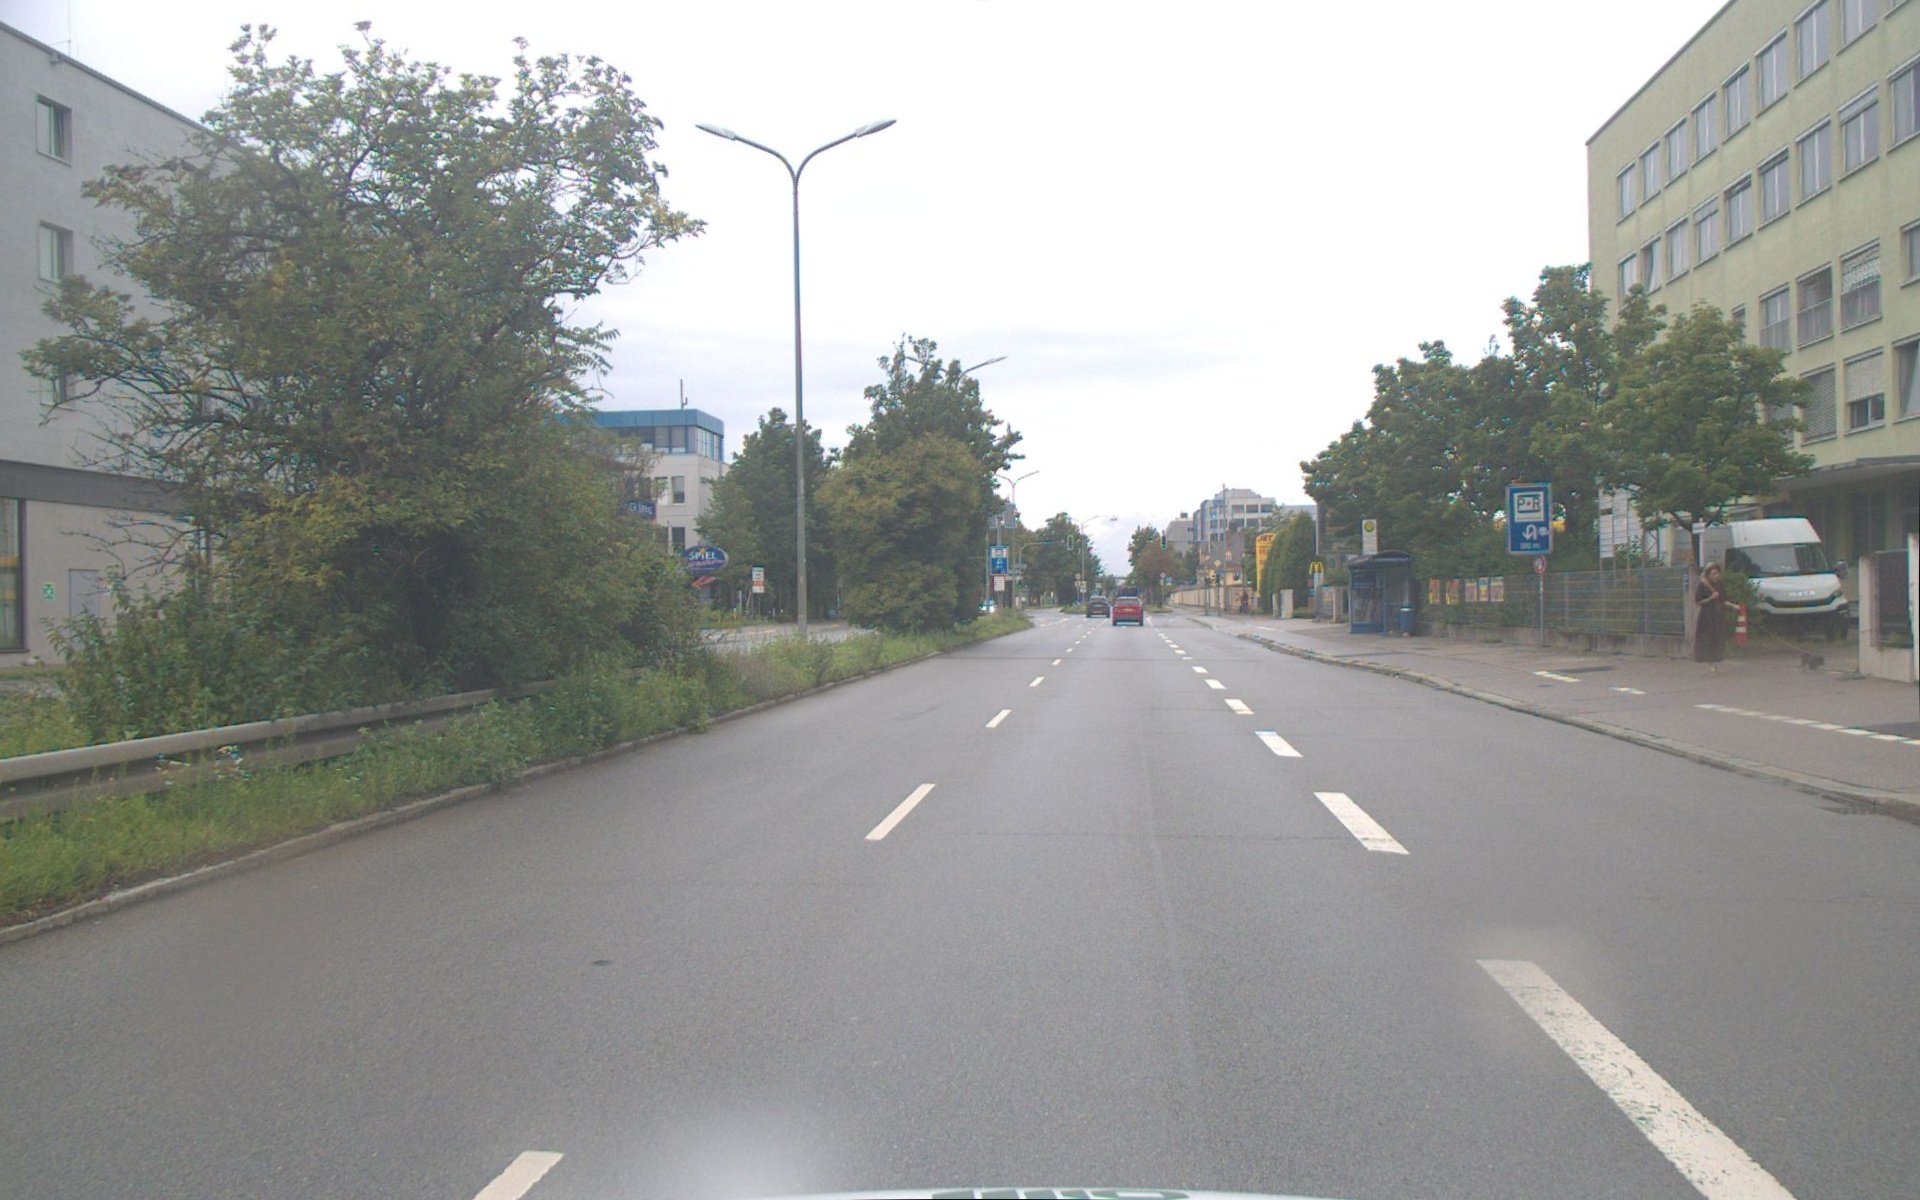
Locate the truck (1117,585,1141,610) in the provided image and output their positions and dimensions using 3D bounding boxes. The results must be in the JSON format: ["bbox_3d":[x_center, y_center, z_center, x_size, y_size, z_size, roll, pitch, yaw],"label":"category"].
[{"bbox_3d":[22.825,-0.298,224.172,2.906,3.343,7.919,-1,0,4],"label":"truck"}]

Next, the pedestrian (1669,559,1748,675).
[{"bbox_3d":[11.952,0.264,26.439,0.742,1.758,0.895,-4,0,2],"label":"pedestrian"}]

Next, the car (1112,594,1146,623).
[{"bbox_3d":[9.722,0.498,95.335,1.823,1.646,4.002,0,-1,4],"label":"car"}]

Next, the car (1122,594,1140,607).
[{"bbox_3d":[18.842,0.064,182.415,1.765,1.458,4.002,-1,0,4],"label":"car"}]

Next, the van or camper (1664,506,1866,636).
[{"bbox_3d":[17.415,-0.575,36.271,2.079,2.540,7.395,-1,0,11],"label":"van or camper"}]

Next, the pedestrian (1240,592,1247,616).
[{"bbox_3d":[20.128,0.273,117.420,0.473,1.664,0.591,-1,0,6],"label":"pedestrian"}]

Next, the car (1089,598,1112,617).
[{"bbox_3d":[11.146,0.605,131.575,1.765,1.458,4.002,-1,0,4],"label":"car"}]
